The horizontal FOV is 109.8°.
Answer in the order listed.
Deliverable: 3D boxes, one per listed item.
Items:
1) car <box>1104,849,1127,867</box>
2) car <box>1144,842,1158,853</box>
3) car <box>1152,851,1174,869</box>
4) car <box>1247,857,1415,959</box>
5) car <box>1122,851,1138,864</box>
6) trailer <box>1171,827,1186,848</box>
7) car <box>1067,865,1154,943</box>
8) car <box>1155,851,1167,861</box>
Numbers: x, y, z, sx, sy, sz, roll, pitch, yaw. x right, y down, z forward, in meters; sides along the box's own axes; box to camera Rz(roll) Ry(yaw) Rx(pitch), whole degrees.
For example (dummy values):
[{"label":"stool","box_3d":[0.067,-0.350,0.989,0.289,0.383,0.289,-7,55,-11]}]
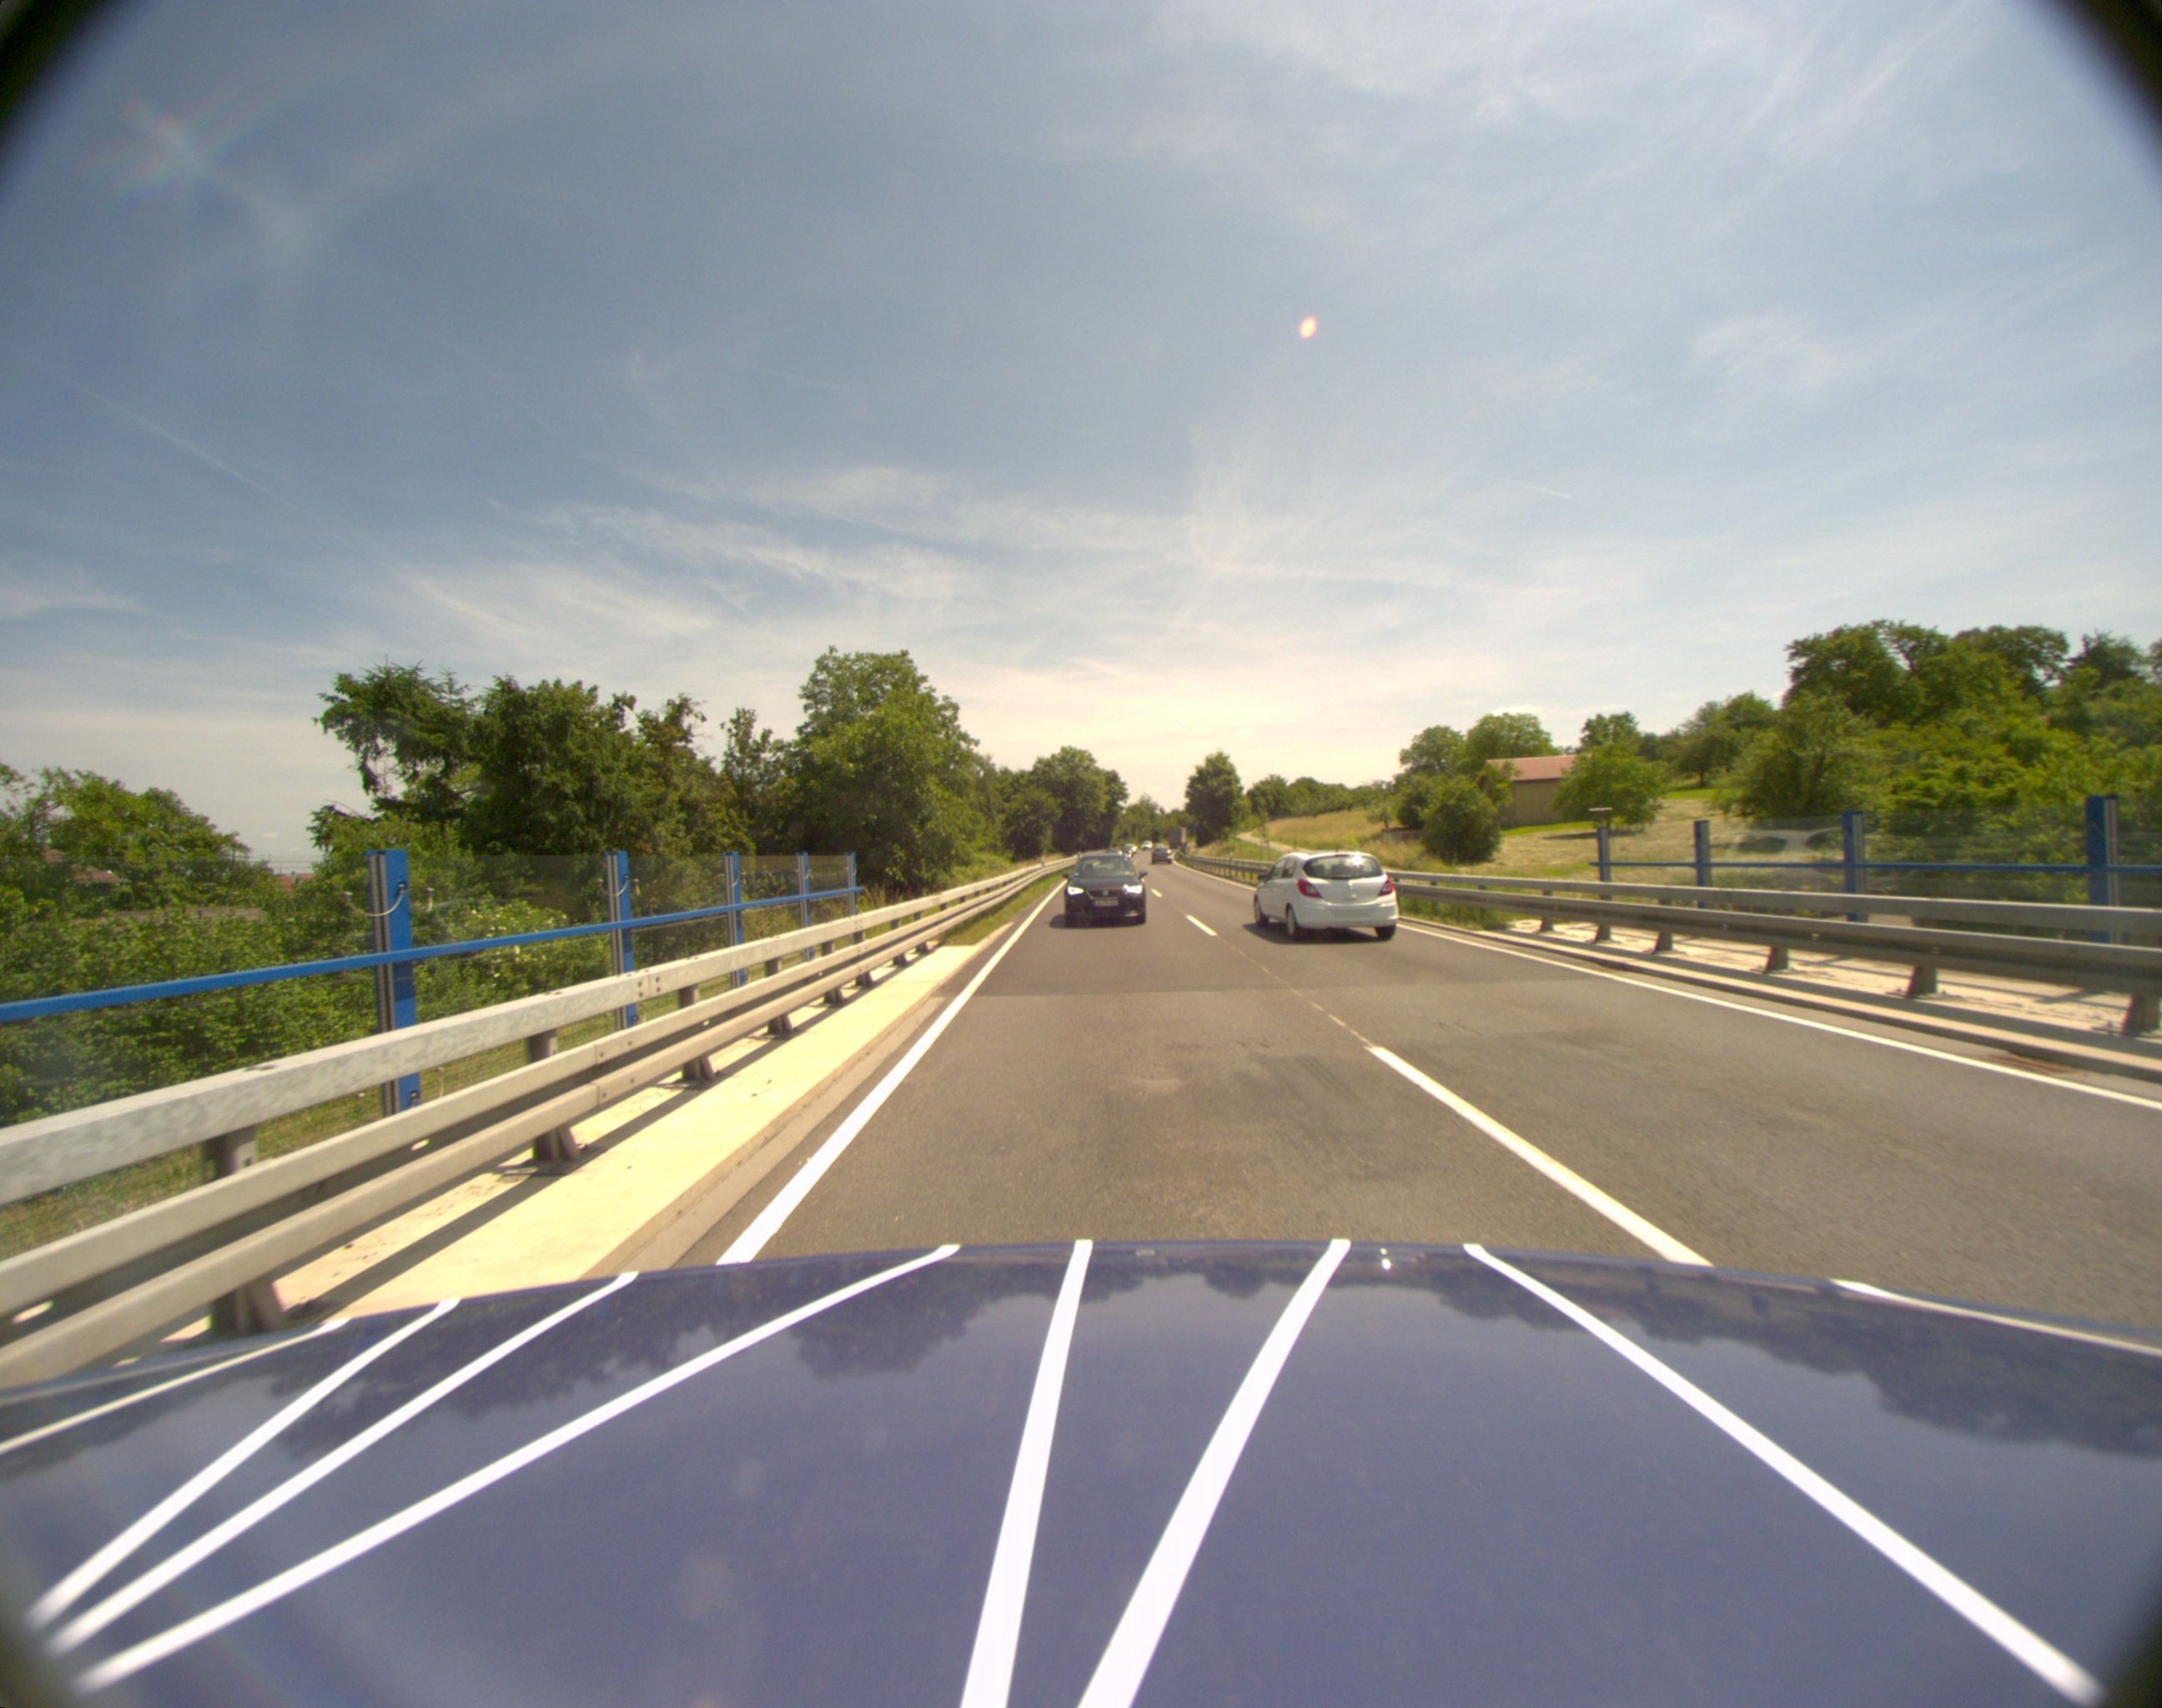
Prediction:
[{"label":"car","box_3d":[3.531,0.388,77.422,1.882,1.698,4.002,-1,0,8]},{"label":"car","box_3d":[13.440,-1.271,146.043,1.996,2.002,4.003,-1,1,13]},{"label":"car","box_3d":[7.591,0.549,70.813,1.810,1.580,4.380,-1,1,3]},{"label":"car","box_3d":[4.301,0.837,13.754,1.711,1.496,4.118,-1,1,1]},{"label":"car","box_3d":[6.562,0.418,100.975,1.882,1.698,4.002,-1,0,7]},{"label":"trailer","box_3d":[20.440,-3.377,159.075,2.450,4.160,14.024,0,1,10]},{"label":"car","box_3d":[0.626,1.032,17.321,1.737,1.467,4.000,-1,0,1]},{"label":"car","box_3d":[12.024,0.235,114.157,1.649,1.432,4.161,0,0,8]}]
